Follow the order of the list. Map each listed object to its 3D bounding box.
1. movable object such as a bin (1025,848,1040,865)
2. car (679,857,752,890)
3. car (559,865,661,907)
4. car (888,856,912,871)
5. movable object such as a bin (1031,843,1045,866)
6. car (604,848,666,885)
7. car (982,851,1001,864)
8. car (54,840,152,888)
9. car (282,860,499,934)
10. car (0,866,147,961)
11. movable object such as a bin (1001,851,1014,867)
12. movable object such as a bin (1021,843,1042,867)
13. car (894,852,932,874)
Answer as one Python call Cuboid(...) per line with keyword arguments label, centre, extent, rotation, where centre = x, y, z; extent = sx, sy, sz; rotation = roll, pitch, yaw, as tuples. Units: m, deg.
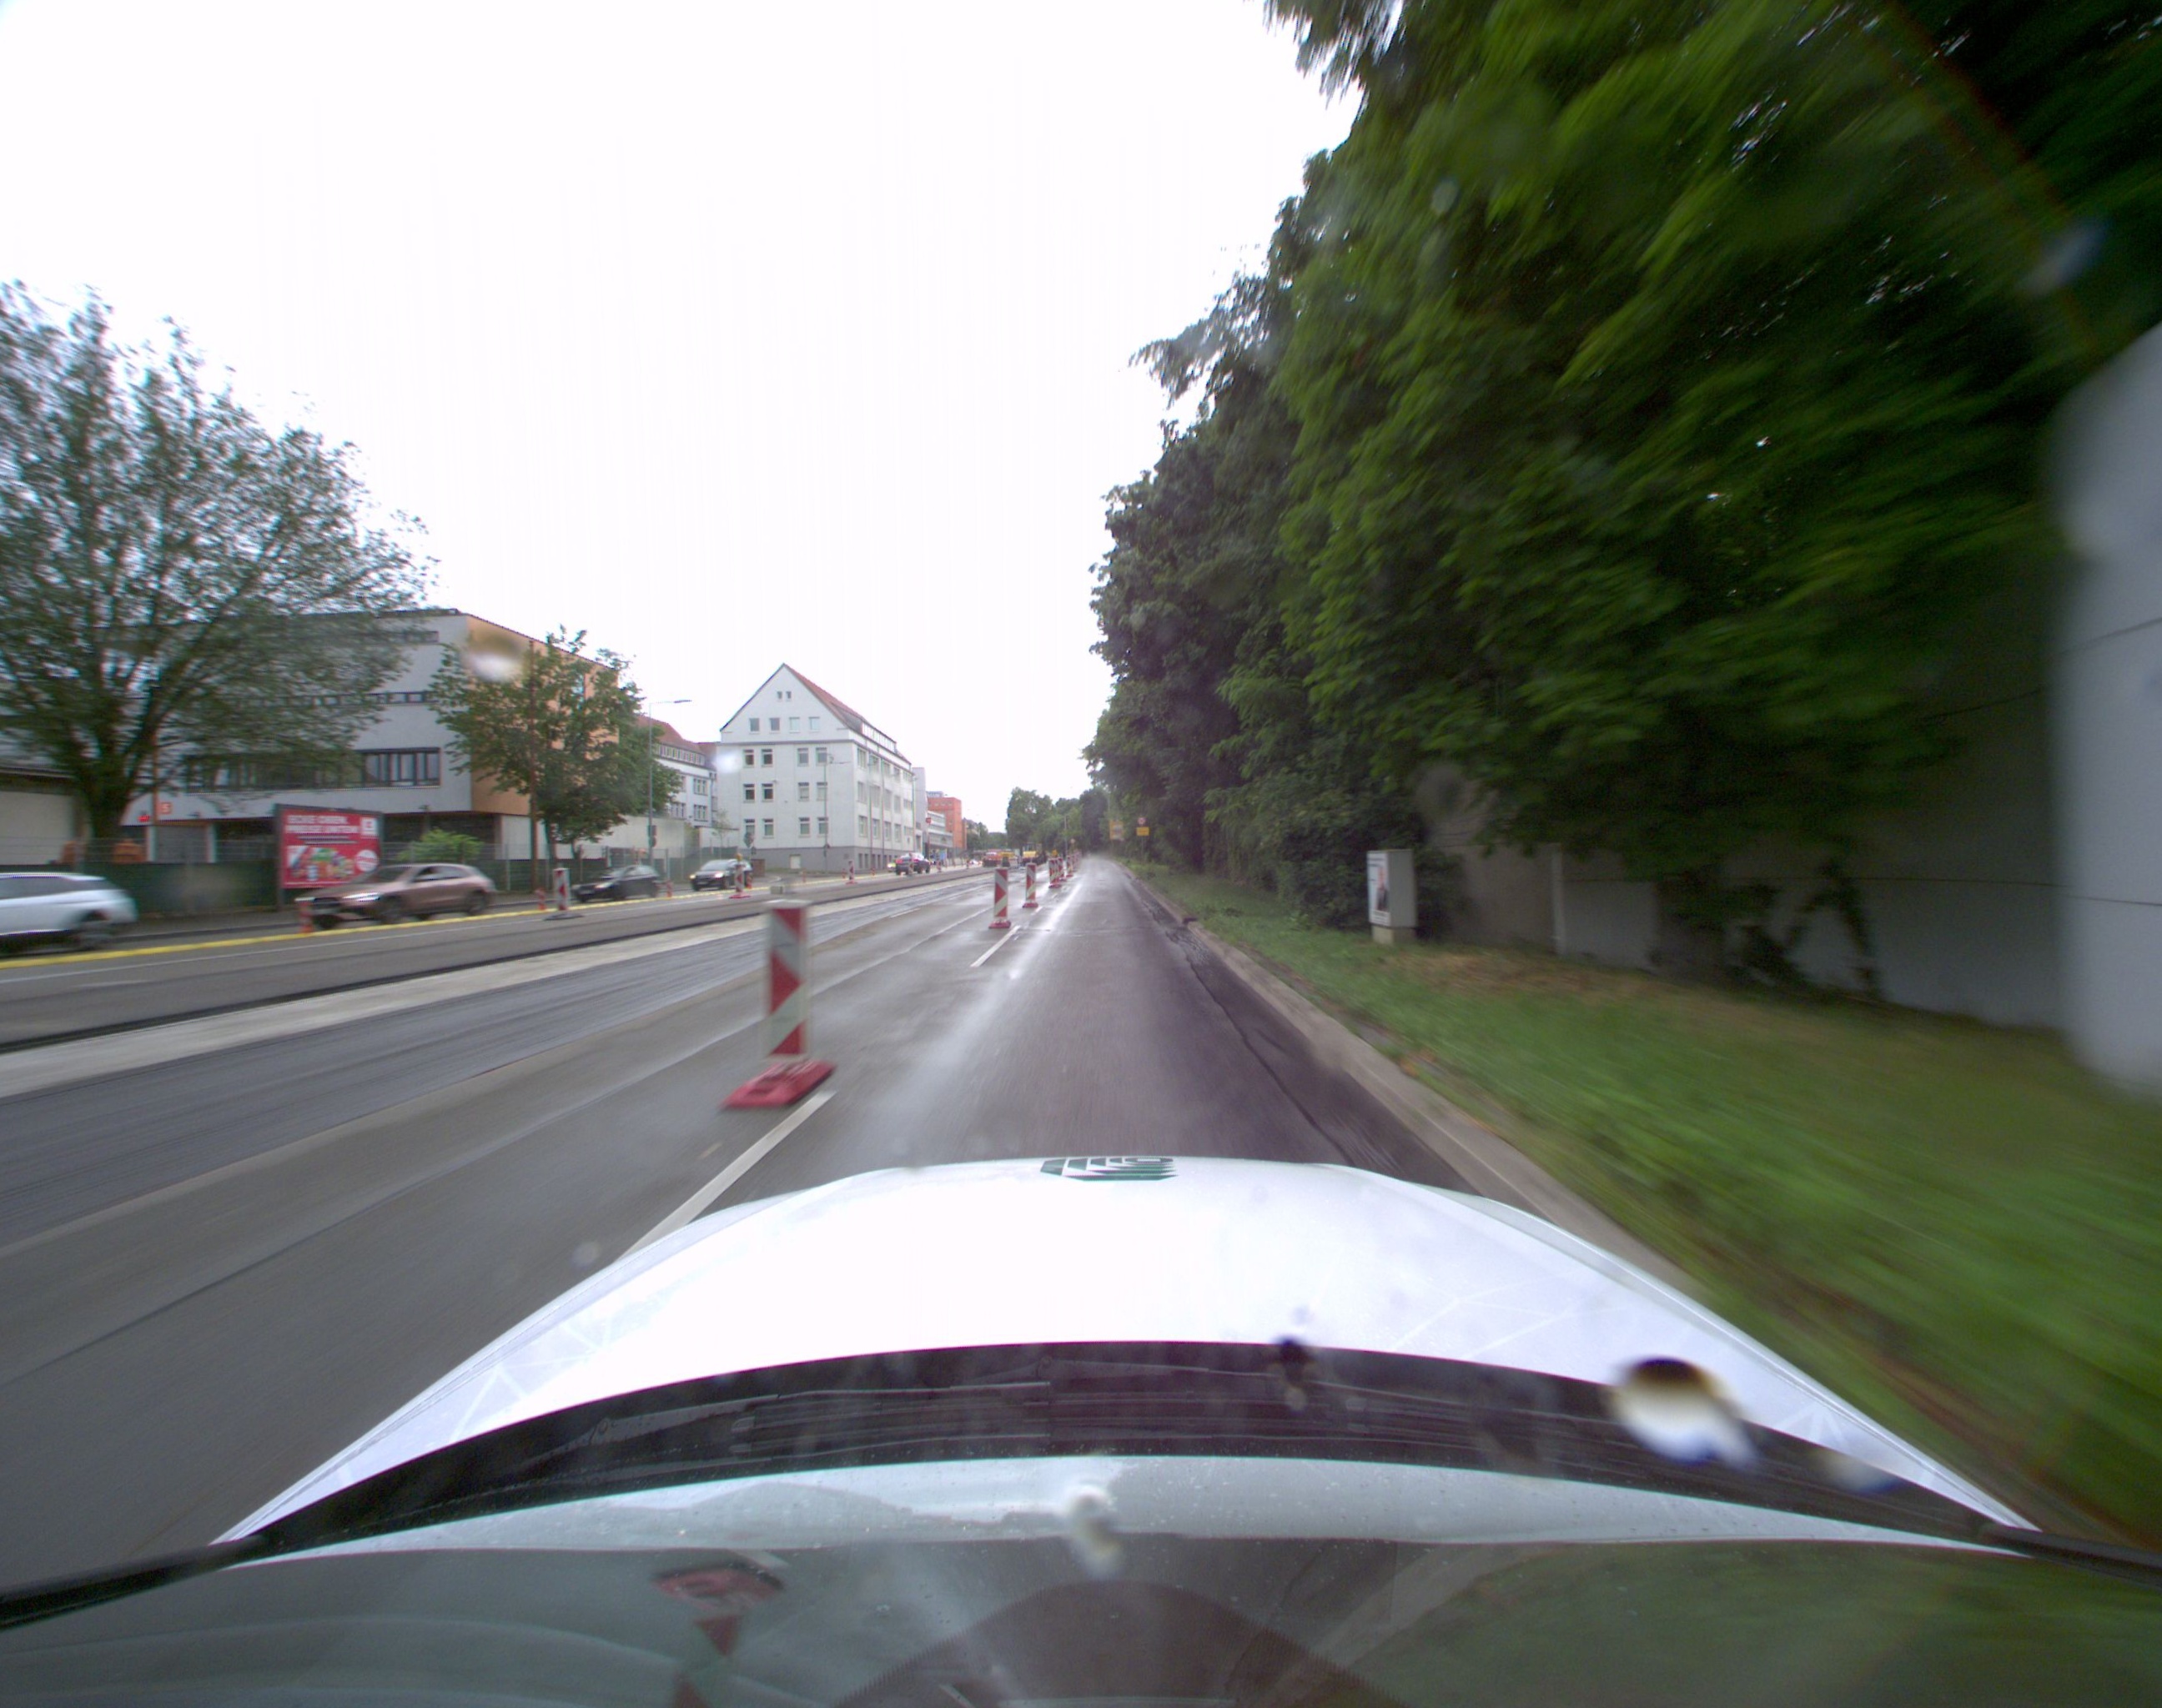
Cuboid(label="movable object such as a bin", centre=(-5.924, 0.280, 100.570), extent=(1.358, 2.090, 5.031), rotation=(-2, 0, 1))
Cuboid(label="car", centre=(-19.966, 1.018, 44.717), extent=(1.852, 1.630, 4.331), rotation=(-4, 0, 2))
Cuboid(label="car", centre=(-19.320, 1.269, 33.587), extent=(1.852, 1.475, 3.733), rotation=(-4, 0, 2))
Cuboid(label="car", centre=(-18.857, 0.959, 84.862), extent=(1.548, 1.368, 3.805), rotation=(-3, 0, 1))
Cuboid(label="movable object such as a bin", centre=(-5.779, 0.034, 109.236), extent=(1.461, 3.008, 3.723), rotation=(-4, 0, 0))
Cuboid(label="car", centre=(-27.845, 0.734, 50.959), extent=(1.604, 2.170, 4.000), rotation=(-2, 0, 1))
Cuboid(label="car", centre=(-11.959, 0.429, 109.467), extent=(1.885, 1.650, 4.398), rotation=(-1, 0, 2))
Cuboid(label="car", centre=(-33.333, 0.347, 27.774), extent=(3.971, 1.527, 2.013), rotation=(-2, 0, 39))
Cuboid(label="car", centre=(-18.069, 1.053, 21.645), extent=(1.852, 1.619, 4.367), rotation=(-4, 0, 2))
Cuboid(label="car", centre=(-20.850, 1.173, 15.109), extent=(1.852, 1.706, 4.367), rotation=(-4, 0, 2))
Cuboid(label="movable object such as a bin", centre=(-7.695, 0.549, 85.901), extent=(1.080, 1.644, 2.439), rotation=(-2, 0, 1))
Cuboid(label="movable object such as a bin", centre=(-5.754, 0.094, 94.563), extent=(1.895, 2.609, 5.384), rotation=(-2, 0, 1))
Cuboid(label="car", centre=(-13.398, 0.679, 65.109), extent=(1.885, 1.650, 4.398), rotation=(-1, 0, 2))
